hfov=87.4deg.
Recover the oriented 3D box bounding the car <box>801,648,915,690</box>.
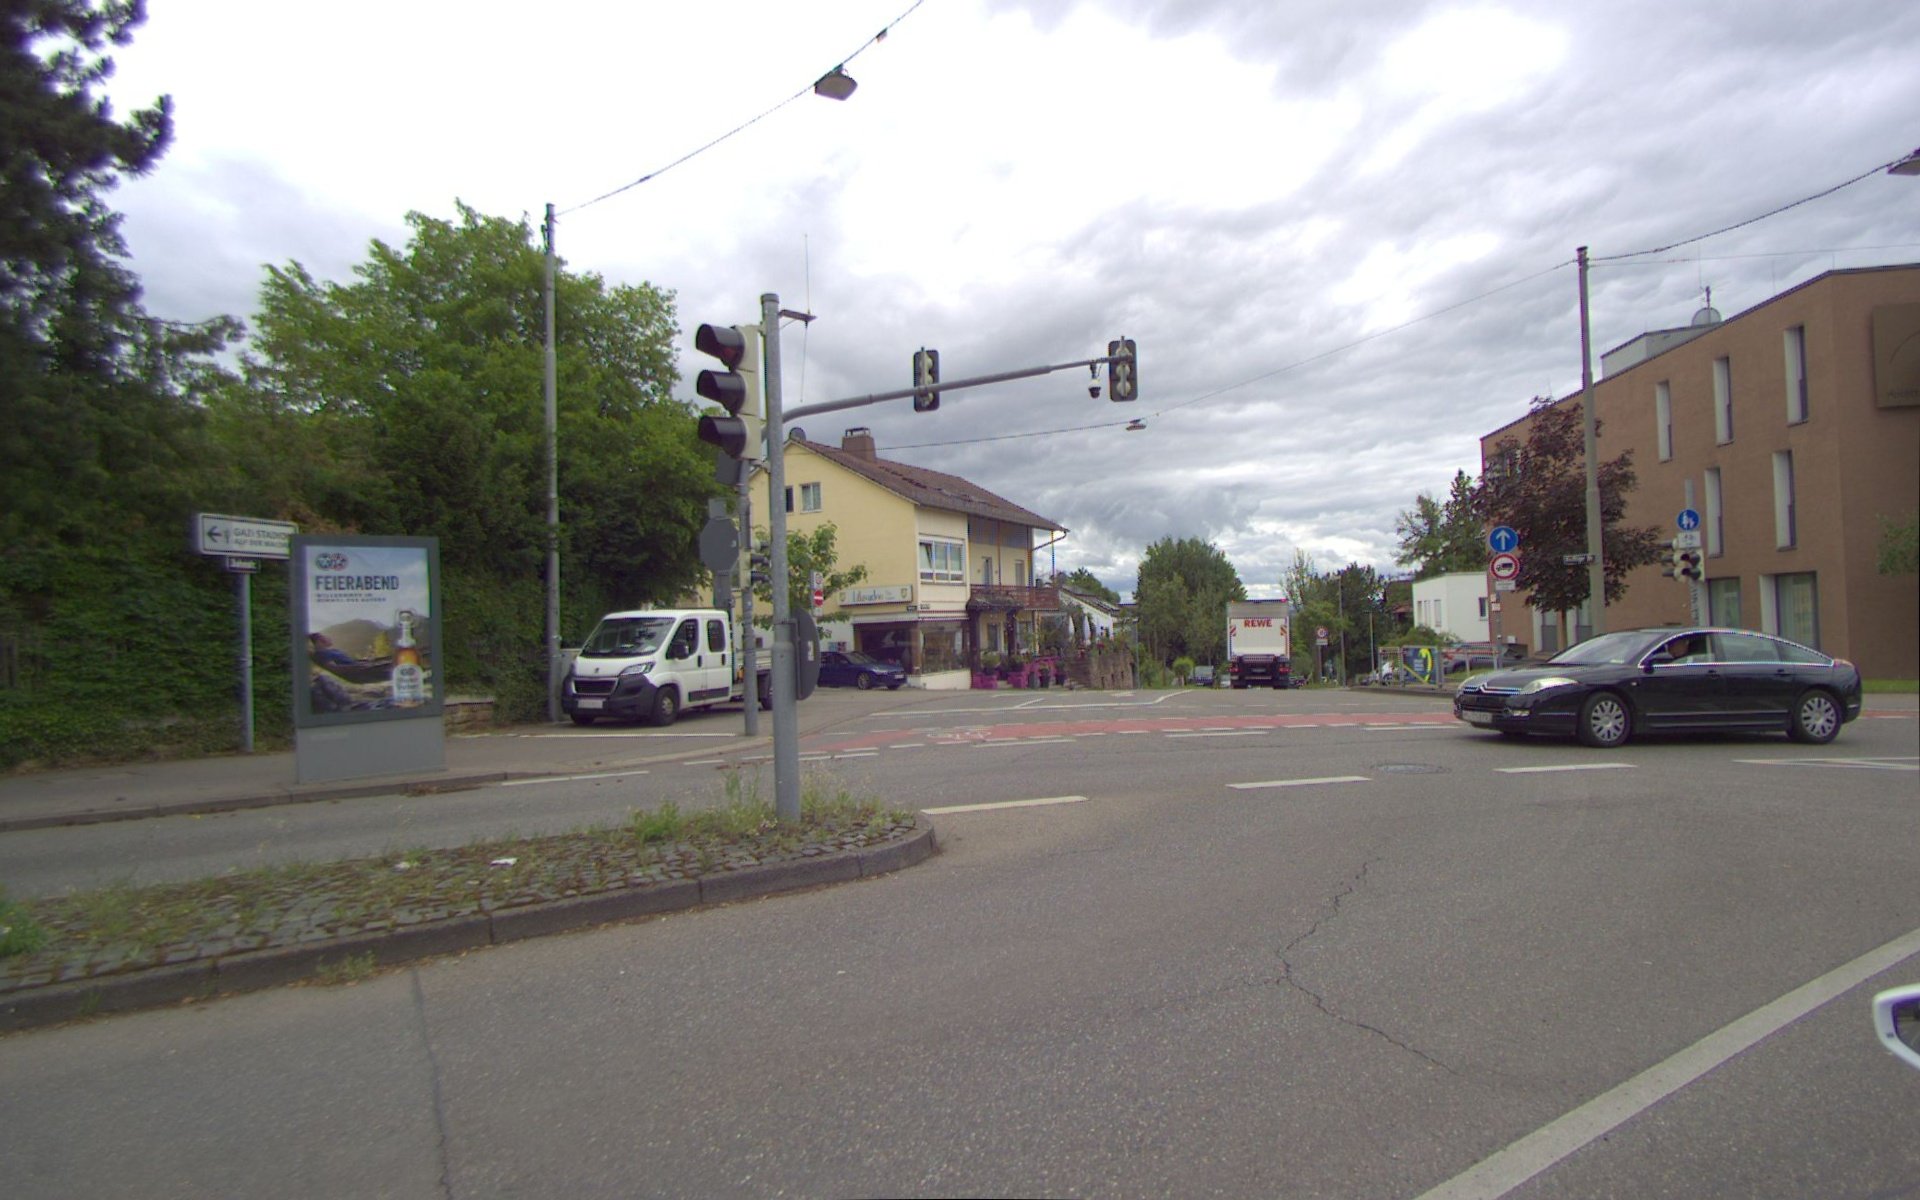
[{"bbox_3d":[-3.793,2.536,37.201,3.932,1.467,1.876,-2,-3,33],"label":"car"}]

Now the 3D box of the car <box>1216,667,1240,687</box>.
[{"bbox_3d":[23.904,6.817,89.452,1.960,1.713,4.003,-2,-4,16],"label":"car"}]

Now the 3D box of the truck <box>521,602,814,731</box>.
[{"bbox_3d":[-5.661,1.293,20.867,2.479,2.217,6.720,-1,-2,18],"label":"truck"}]

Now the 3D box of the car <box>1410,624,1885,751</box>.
[{"bbox_3d":[8.767,1.066,13.078,4.962,1.441,1.999,0,-2,-6],"label":"car"}]

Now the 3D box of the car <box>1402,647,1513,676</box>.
[{"bbox_3d":[20.656,2.554,41.864,3.768,1.105,1.788,-1,-3,12],"label":"car"}]

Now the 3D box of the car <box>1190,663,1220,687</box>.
[{"bbox_3d":[18.050,5.521,73.949,1.960,1.713,4.003,-2,-4,16],"label":"car"}]

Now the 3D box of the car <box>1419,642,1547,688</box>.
[{"bbox_3d":[19.535,2.408,37.657,3.924,1.541,1.788,1,-2,12],"label":"car"}]

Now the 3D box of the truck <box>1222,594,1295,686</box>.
[{"bbox_3d":[13.716,1.958,46.239,2.959,3.847,8.320,0,-4,17],"label":"truck"}]
